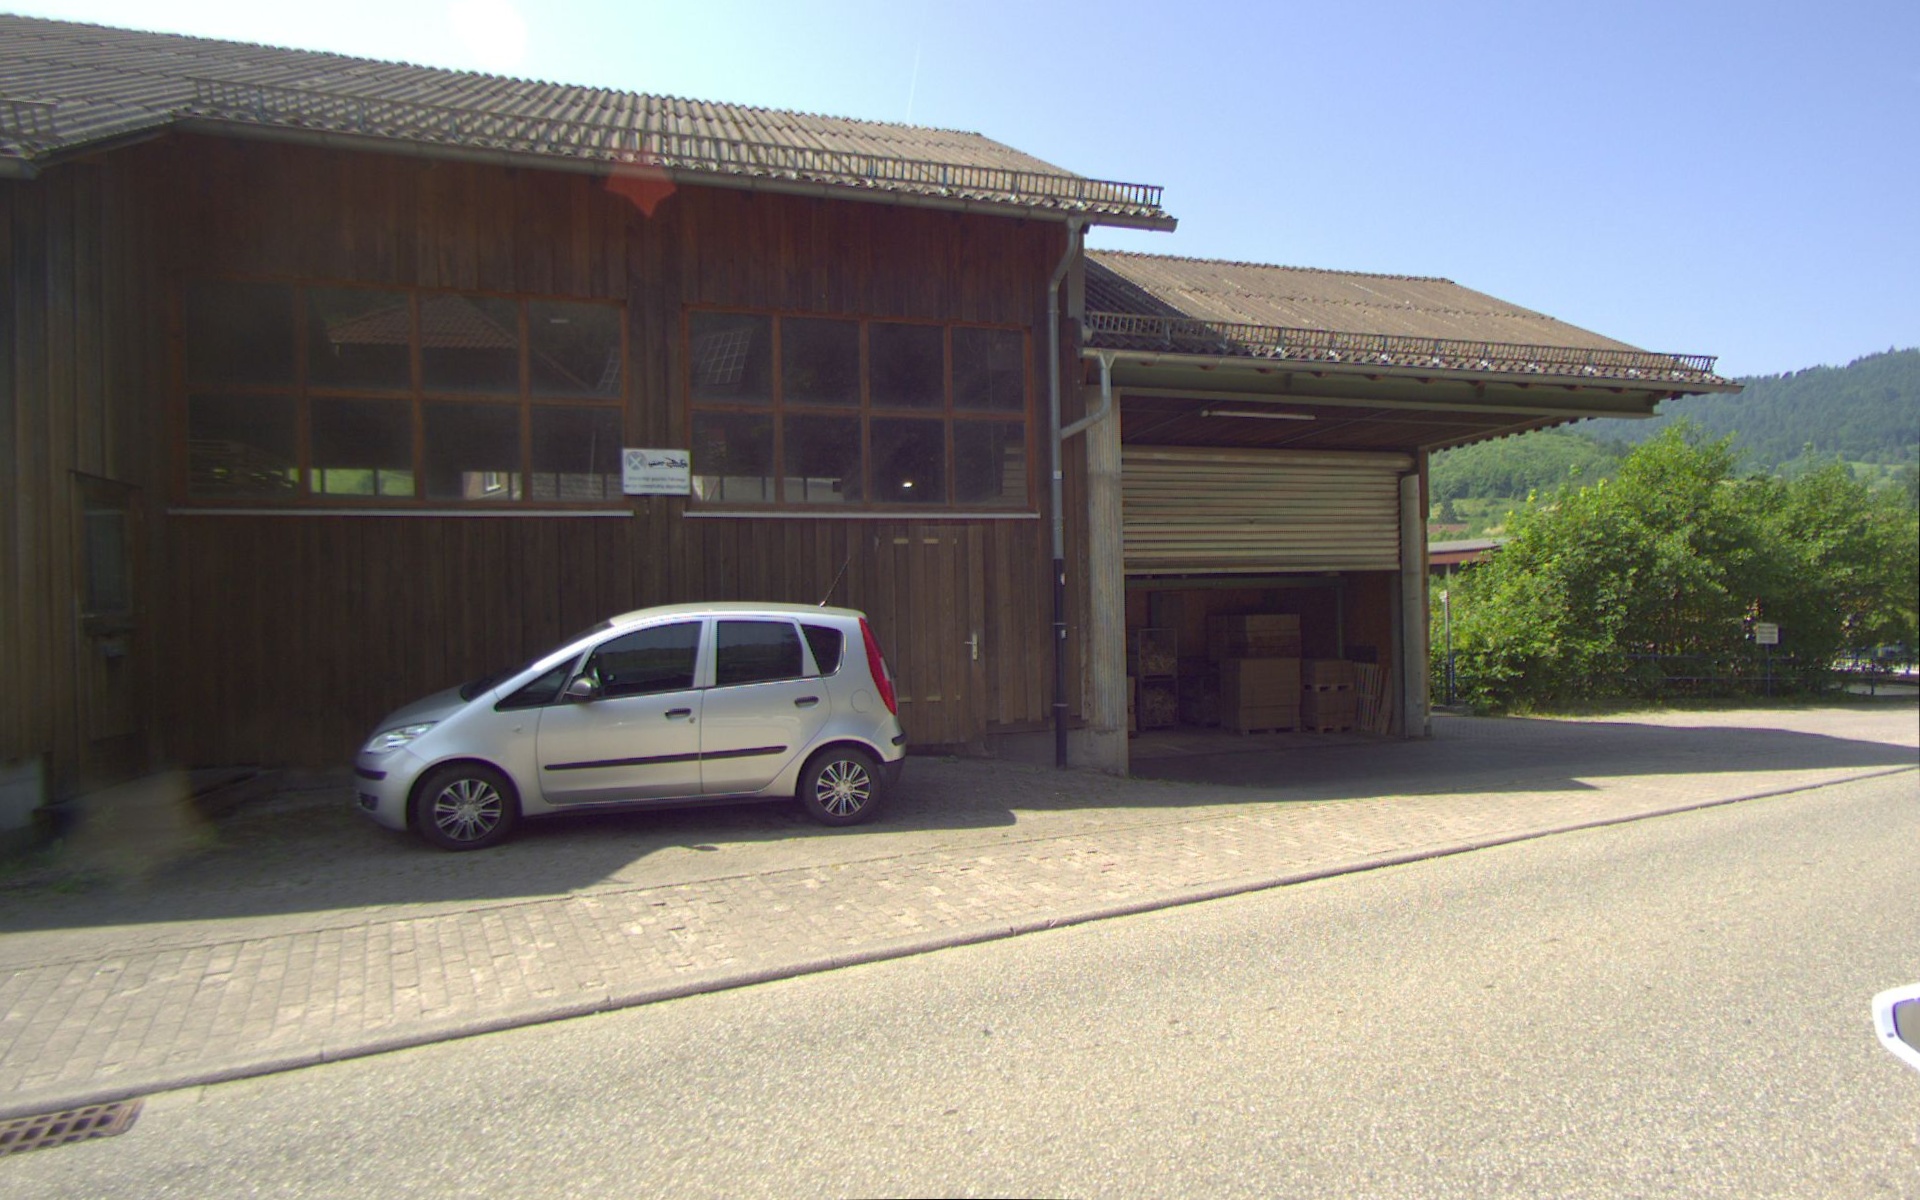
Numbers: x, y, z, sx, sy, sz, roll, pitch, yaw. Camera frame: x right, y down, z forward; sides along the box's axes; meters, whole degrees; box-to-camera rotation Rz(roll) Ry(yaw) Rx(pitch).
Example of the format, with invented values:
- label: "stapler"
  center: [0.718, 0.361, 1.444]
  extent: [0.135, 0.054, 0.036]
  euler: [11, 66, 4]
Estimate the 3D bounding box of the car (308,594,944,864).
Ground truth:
- label: "car"
  center: [-2.235, 0.797, 7.377]
  extent: [3.957, 1.591, 1.580]
  euler: [0, 2, -16]
